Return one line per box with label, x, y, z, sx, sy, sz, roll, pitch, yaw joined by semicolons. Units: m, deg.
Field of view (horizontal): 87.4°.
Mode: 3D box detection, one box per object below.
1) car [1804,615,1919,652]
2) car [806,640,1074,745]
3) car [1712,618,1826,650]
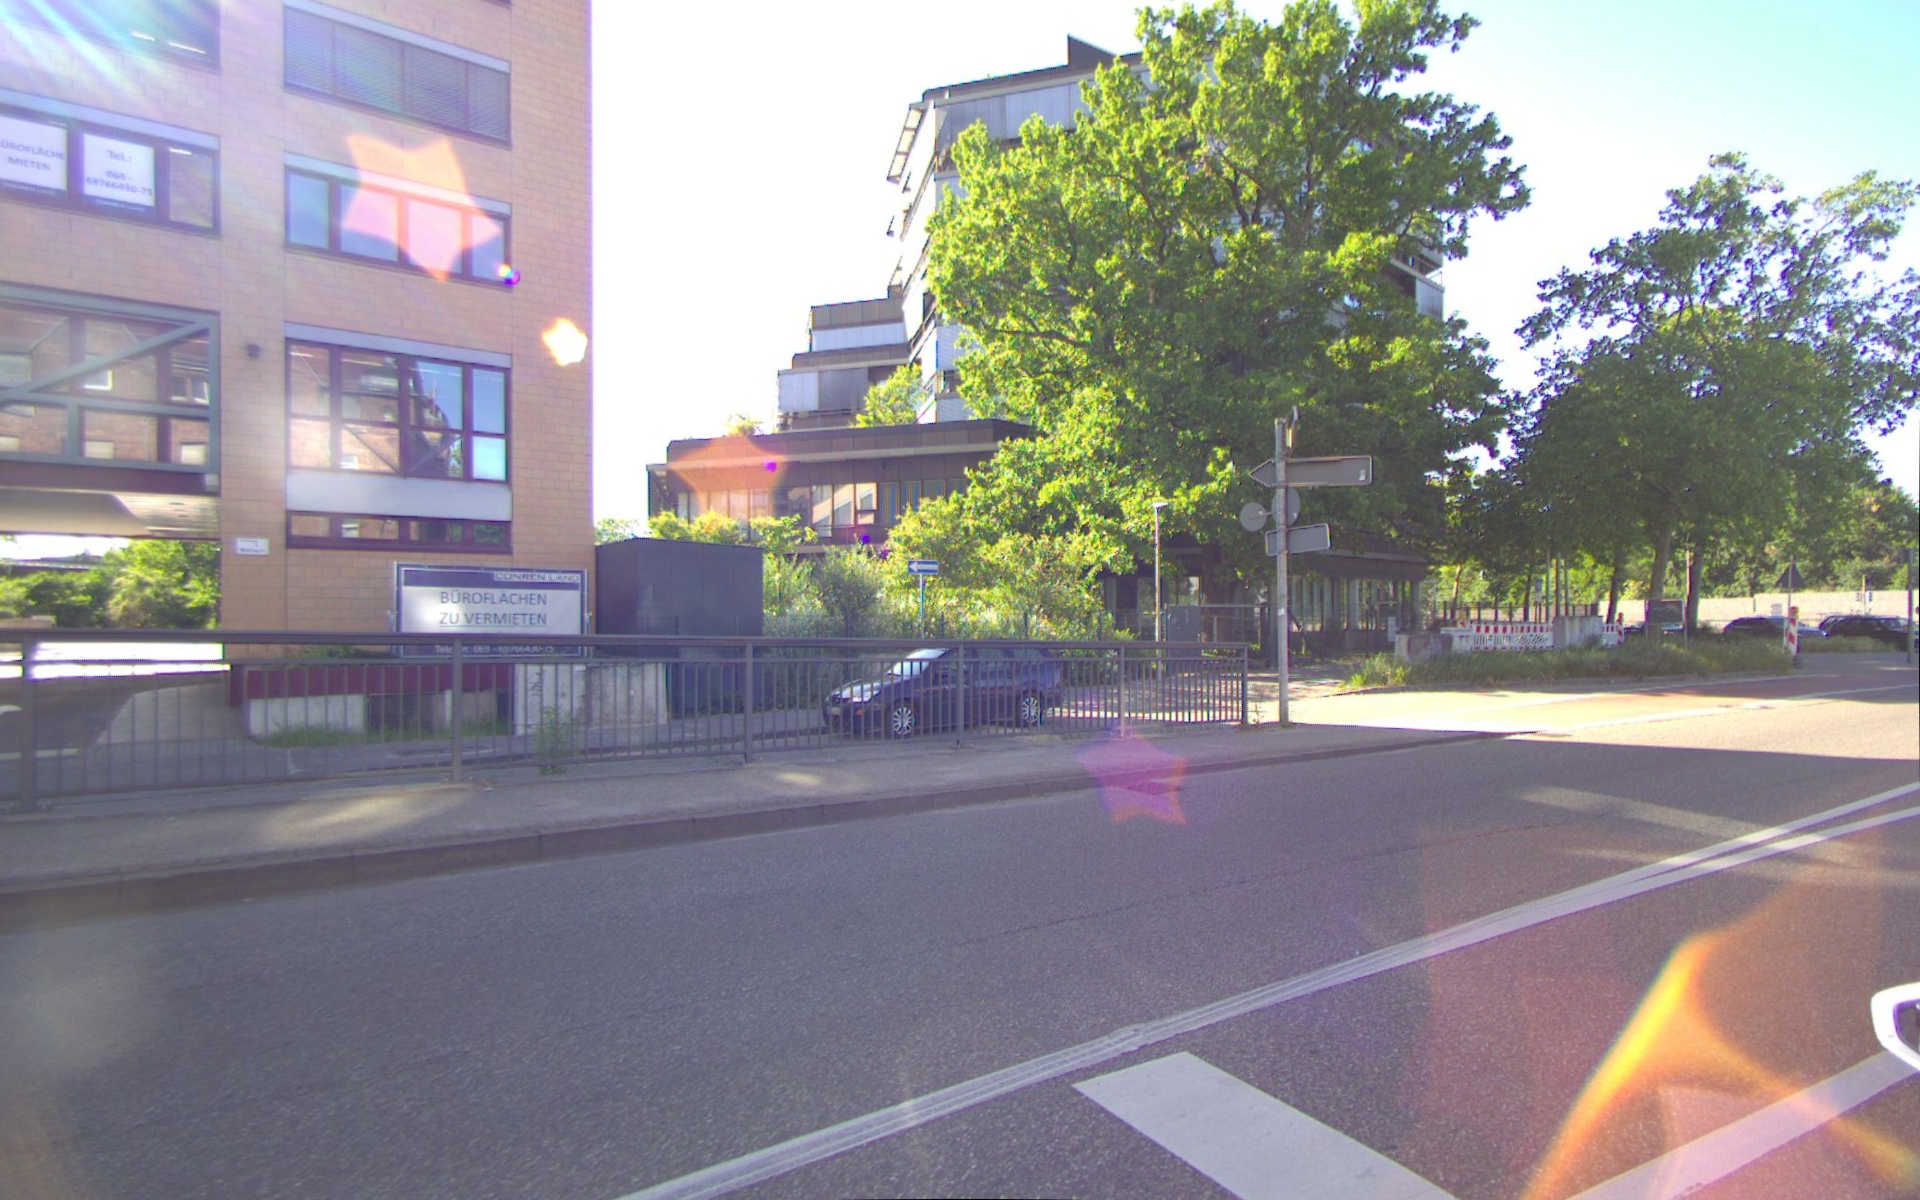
car;38.082;1.352;41.974;1.790;1.458;4.450;0;-1;-3
car;-0.294;1.502;17.466;4.404;1.523;1.809;0;-1;-34
car;38.884;1.630;48.416;1.790;1.458;4.450;0;-1;-3
